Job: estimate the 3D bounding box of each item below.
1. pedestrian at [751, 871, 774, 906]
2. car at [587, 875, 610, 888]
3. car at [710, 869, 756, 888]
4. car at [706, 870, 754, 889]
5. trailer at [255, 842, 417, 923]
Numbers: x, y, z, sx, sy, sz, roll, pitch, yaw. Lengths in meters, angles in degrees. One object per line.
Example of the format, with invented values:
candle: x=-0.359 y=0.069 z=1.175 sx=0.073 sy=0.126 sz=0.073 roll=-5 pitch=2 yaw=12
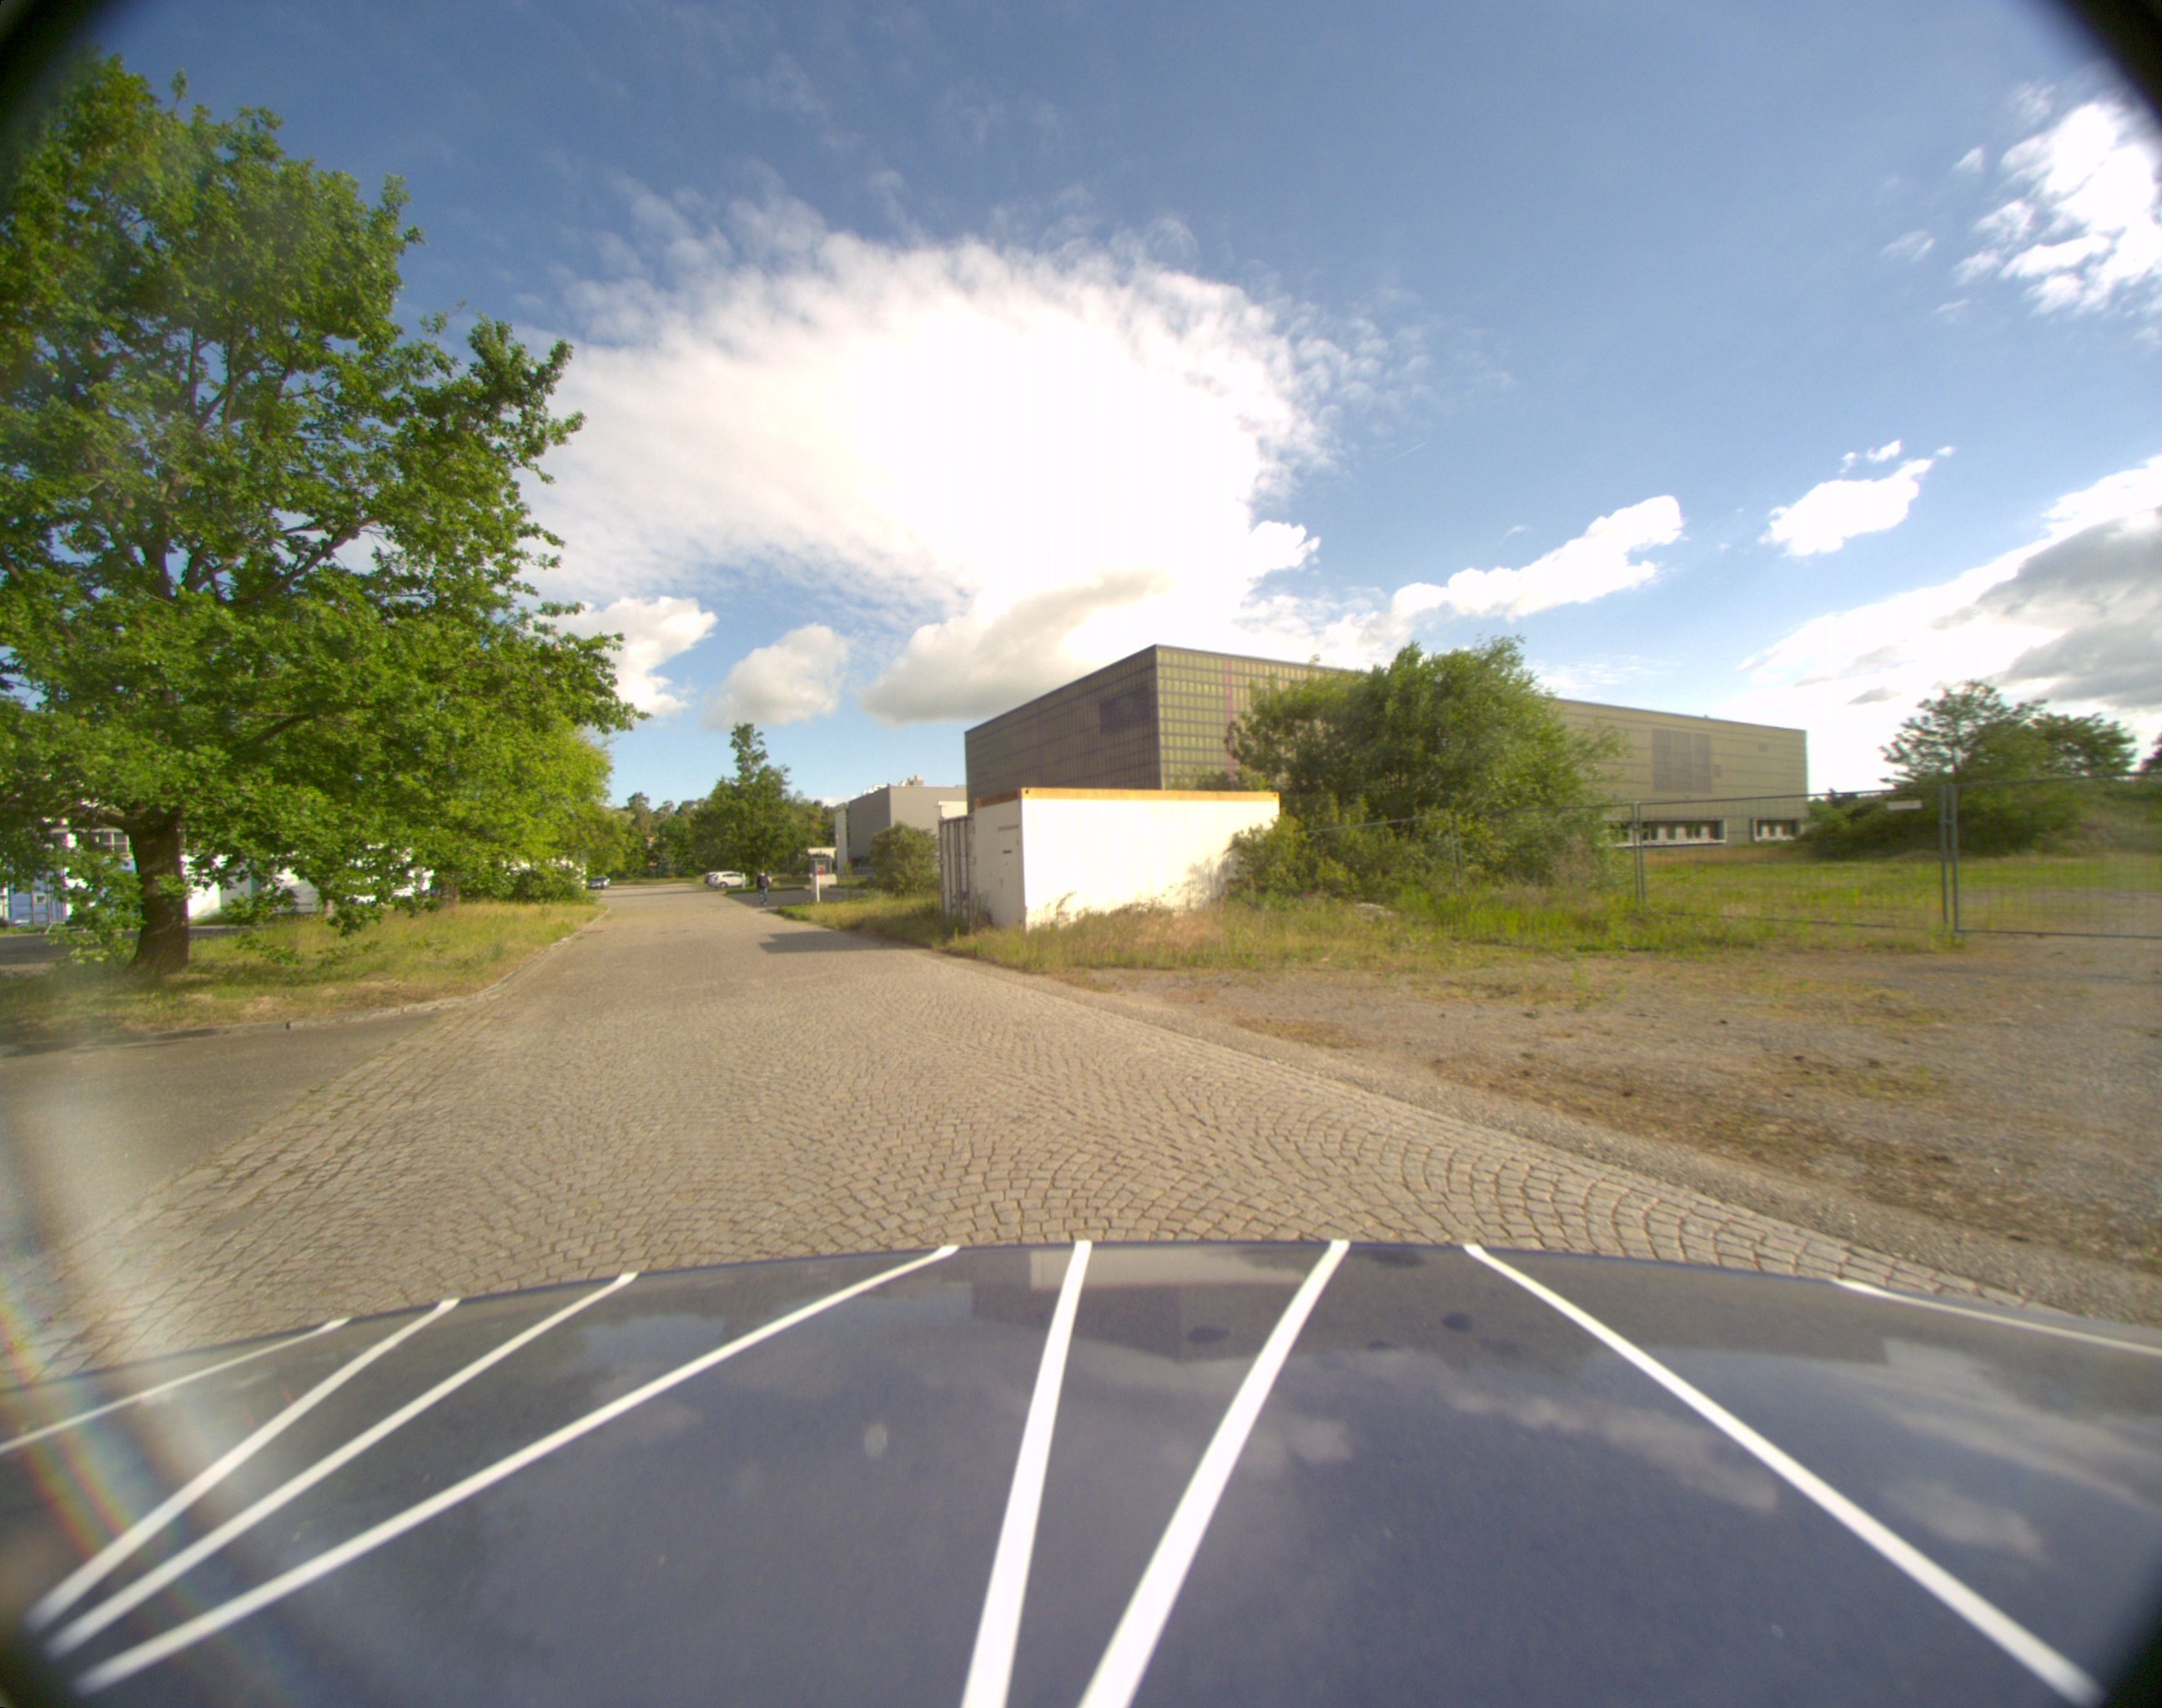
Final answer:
pedestrian: x=-14.740 y=1.584 z=35.217 sx=0.868 sy=1.549 sz=1.026 roll=-2 pitch=0 yaw=-18
car: x=-55.391 y=3.176 z=87.160 sx=2.003 sy=1.363 sz=3.990 roll=-2 pitch=0 yaw=-35
car: x=-34.142 y=2.397 z=74.549 sx=4.004 sy=1.633 sz=1.996 roll=-2 pitch=0 yaw=-24
car: x=-33.188 y=2.374 z=71.971 sx=4.004 sy=1.633 sz=1.996 roll=-2 pitch=0 yaw=-24
trailer: x=-36.978 y=1.334 z=38.266 sx=2.930 sy=3.450 sz=9.880 roll=-2 pitch=0 yaw=-27
